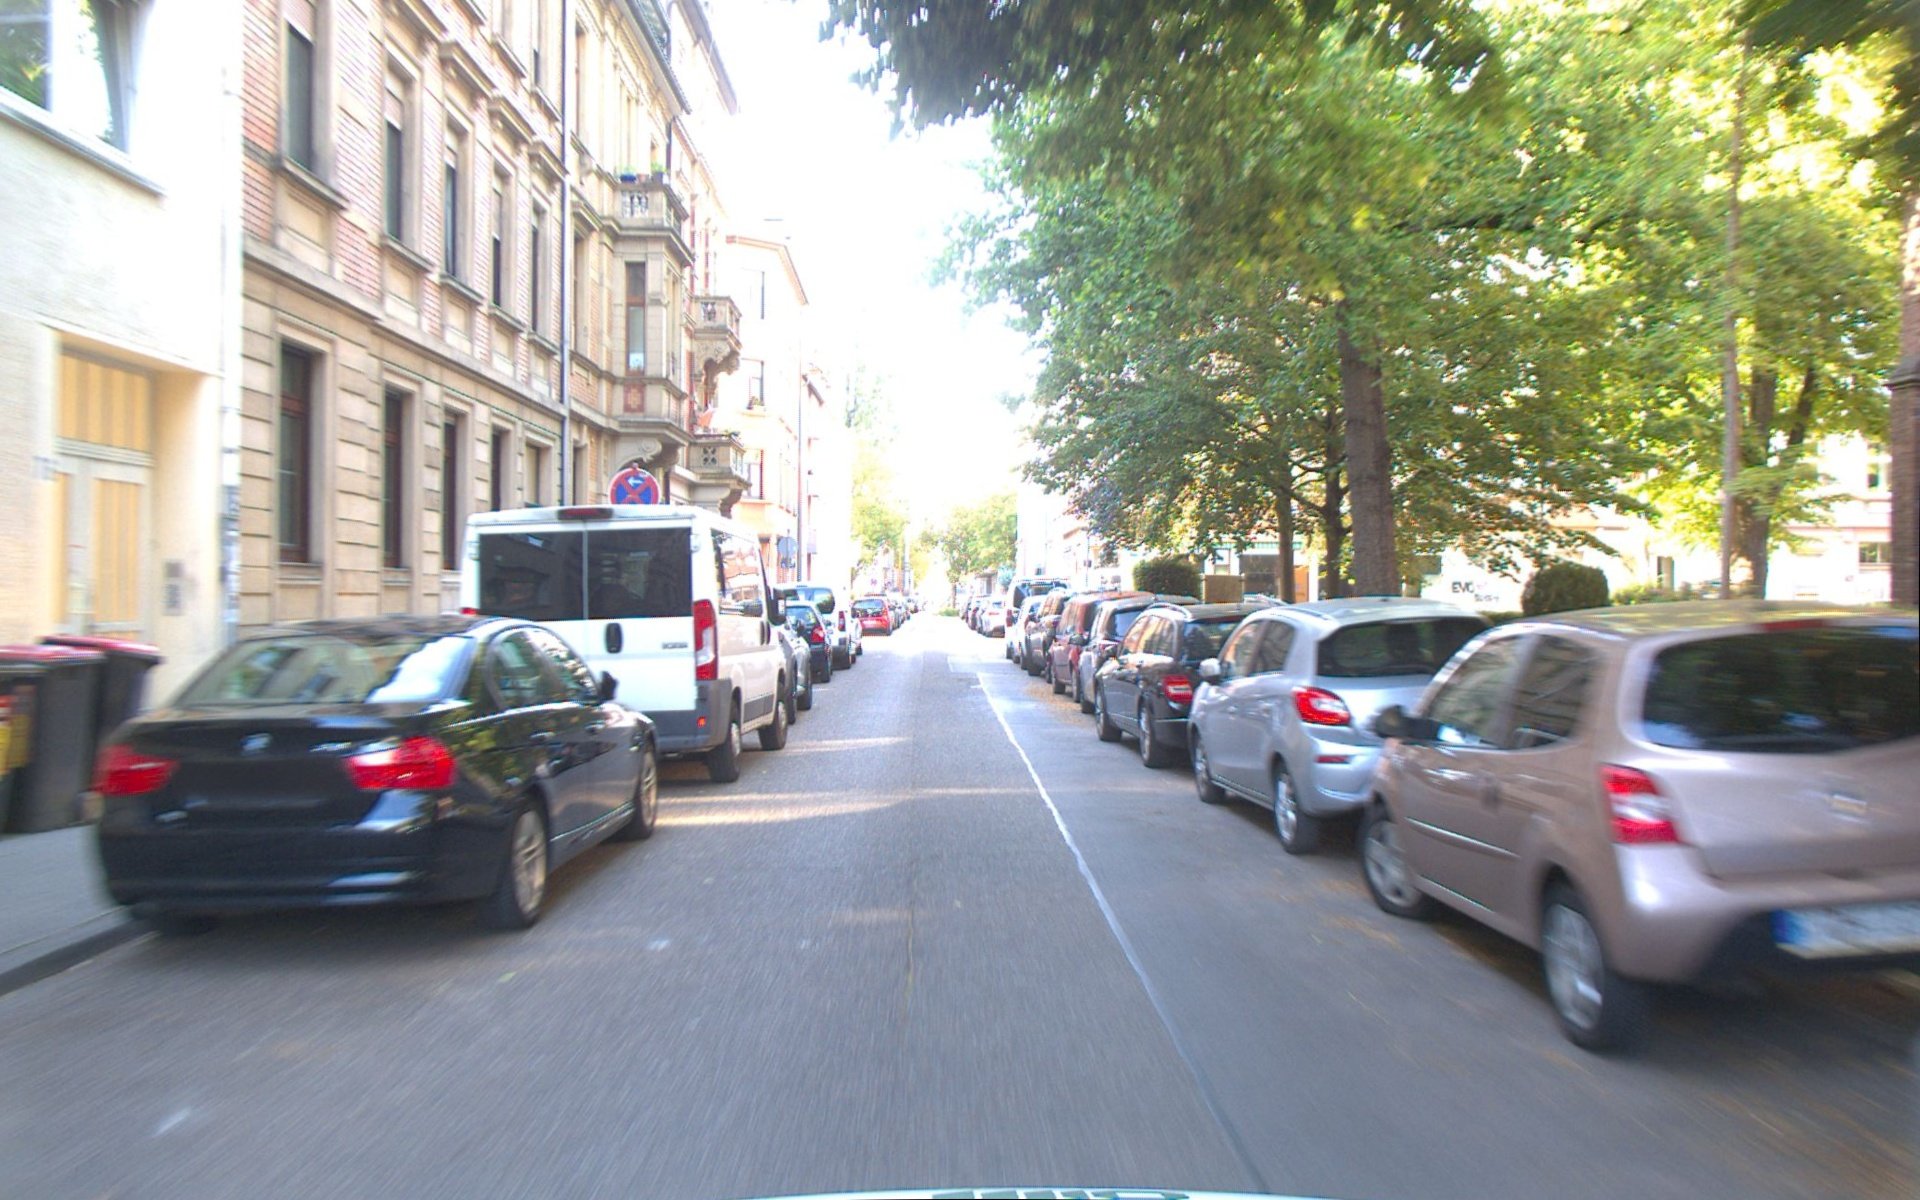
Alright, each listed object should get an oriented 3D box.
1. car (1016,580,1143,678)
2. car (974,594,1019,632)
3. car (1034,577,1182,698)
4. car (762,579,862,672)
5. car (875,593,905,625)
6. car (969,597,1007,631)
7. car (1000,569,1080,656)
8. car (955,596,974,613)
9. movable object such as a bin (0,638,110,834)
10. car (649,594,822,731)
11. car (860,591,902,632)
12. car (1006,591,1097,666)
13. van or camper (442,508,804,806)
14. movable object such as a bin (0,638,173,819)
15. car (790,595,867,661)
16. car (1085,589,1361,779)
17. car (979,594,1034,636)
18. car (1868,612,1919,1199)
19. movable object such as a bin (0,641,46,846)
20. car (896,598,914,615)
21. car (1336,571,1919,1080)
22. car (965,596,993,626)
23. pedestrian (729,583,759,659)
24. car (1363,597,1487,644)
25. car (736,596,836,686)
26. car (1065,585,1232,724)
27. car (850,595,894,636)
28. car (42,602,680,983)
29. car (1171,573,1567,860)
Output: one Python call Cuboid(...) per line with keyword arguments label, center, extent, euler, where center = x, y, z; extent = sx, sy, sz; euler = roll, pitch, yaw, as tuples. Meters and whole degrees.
Cuboid(label="car", center=(2.227, 0.546, 32.016), extent=(1.706, 1.631, 4.259), euler=(-4, 0, -5))
Cuboid(label="car", center=(1.534, 0.532, 70.965), extent=(1.708, 1.533, 4.020), euler=(-2, 0, -2))
Cuboid(label="car", center=(2.272, 0.574, 26.324), extent=(1.587, 1.653, 3.859), euler=(-4, 0, -5))
Cuboid(label="car", center=(-3.145, 0.513, 35.922), extent=(1.794, 1.843, 4.571), euler=(-2, 0, -1))
Cuboid(label="car", center=(-4.190, 0.530, 99.394), extent=(1.729, 1.816, 4.038), euler=(-2, 0, -2))
Cuboid(label="car", center=(1.344, 0.654, 79.921), extent=(1.642, 1.533, 3.936), euler=(-2, 0, -2))
Cuboid(label="car", center=(1.999, 0.294, 42.492), extent=(1.875, 2.033, 4.792), euler=(-2, 0, 1))
Cuboid(label="car", center=(0.431, 0.375, 155.235), extent=(1.642, 1.513, 3.637), euler=(-2, 0, -2))
Cuboid(label="movable object such as a bin", center=(-5.615, 0.783, 9.793), extent=(0.783, 1.107, 0.666), euler=(0, -1, 3))
Cuboid(label="car", center=(-2.790, 0.716, 21.370), extent=(1.731, 1.540, 4.192), euler=(-2, 0, -2))
Cuboid(label="car", center=(-3.814, 0.533, 80.237), extent=(1.707, 1.842, 4.672), euler=(-2, 0, 1))
Cuboid(label="car", center=(2.006, 0.610, 37.127), extent=(1.684, 1.598, 3.826), euler=(0, 0, -2))
Cuboid(label="van or camper", center=(-2.785, 0.417, 15.067), extent=(2.132, 2.185, 5.154), euler=(-2, 0, 1))
Cuboid(label="movable object such as a bin", center=(-5.588, 0.797, 10.548), extent=(0.783, 1.107, 0.666), euler=(0, -1, 3))
Cuboid(label="car", center=(-3.232, 0.655, 41.364), extent=(1.658, 1.507, 3.972), euler=(-2, 0, -1))
Cuboid(label="car", center=(2.392, 0.729, 16.243), extent=(1.642, 1.466, 4.692), euler=(-4, 0, -3))
Cuboid(label="car", center=(1.785, 0.574, 64.706), extent=(1.709, 1.533, 4.354), euler=(-2, 0, -3))
Cuboid(label="car", center=(2.759, 0.733, 1.605), extent=(1.566, 1.496, 3.869), euler=(-2, 0, 0))
Cuboid(label="movable object such as a bin", center=(-5.617, 0.781, 9.057), extent=(0.819, 1.107, 0.675), euler=(0, -1, 2))
Cuboid(label="car", center=(-5.088, 0.616, 153.460), extent=(1.642, 1.513, 4.093), euler=(-2, 0, -2))
Cuboid(label="car", center=(2.835, 0.705, 6.974), extent=(1.567, 1.493, 3.563), euler=(-4, 0, 0))
Cuboid(label="car", center=(1.158, 0.694, 101.821), extent=(1.641, 1.711, 4.094), euler=(-2, -1, 0))
Cuboid(label="pedestrian", center=(-4.810, 0.478, 36.855), extent=(0.537, 1.673, 0.717), euler=(1, -2, -1))
Cuboid(label="car", center=(15.625, 0.705, 55.702), extent=(3.773, 1.499, 1.634), euler=(1, -2, 6))
Cuboid(label="car", center=(-3.196, 0.713, 31.035), extent=(1.659, 1.540, 3.970), euler=(-2, 0, -4))
Cuboid(label="car", center=(2.355, 0.660, 21.484), extent=(1.586, 1.512, 3.775), euler=(-4, 0, -1))
Cuboid(label="car", center=(-3.453, 0.596, 65.151), extent=(1.595, 1.507, 3.600), euler=(-2, 0, -1))
Cuboid(label="car", center=(-2.722, 0.760, 8.667), extent=(1.695, 1.426, 4.315), euler=(-2, 0, 1))
Cuboid(label="car", center=(2.607, 0.692, 11.395), extent=(1.568, 1.531, 3.626), euler=(-4, 0, -3))
